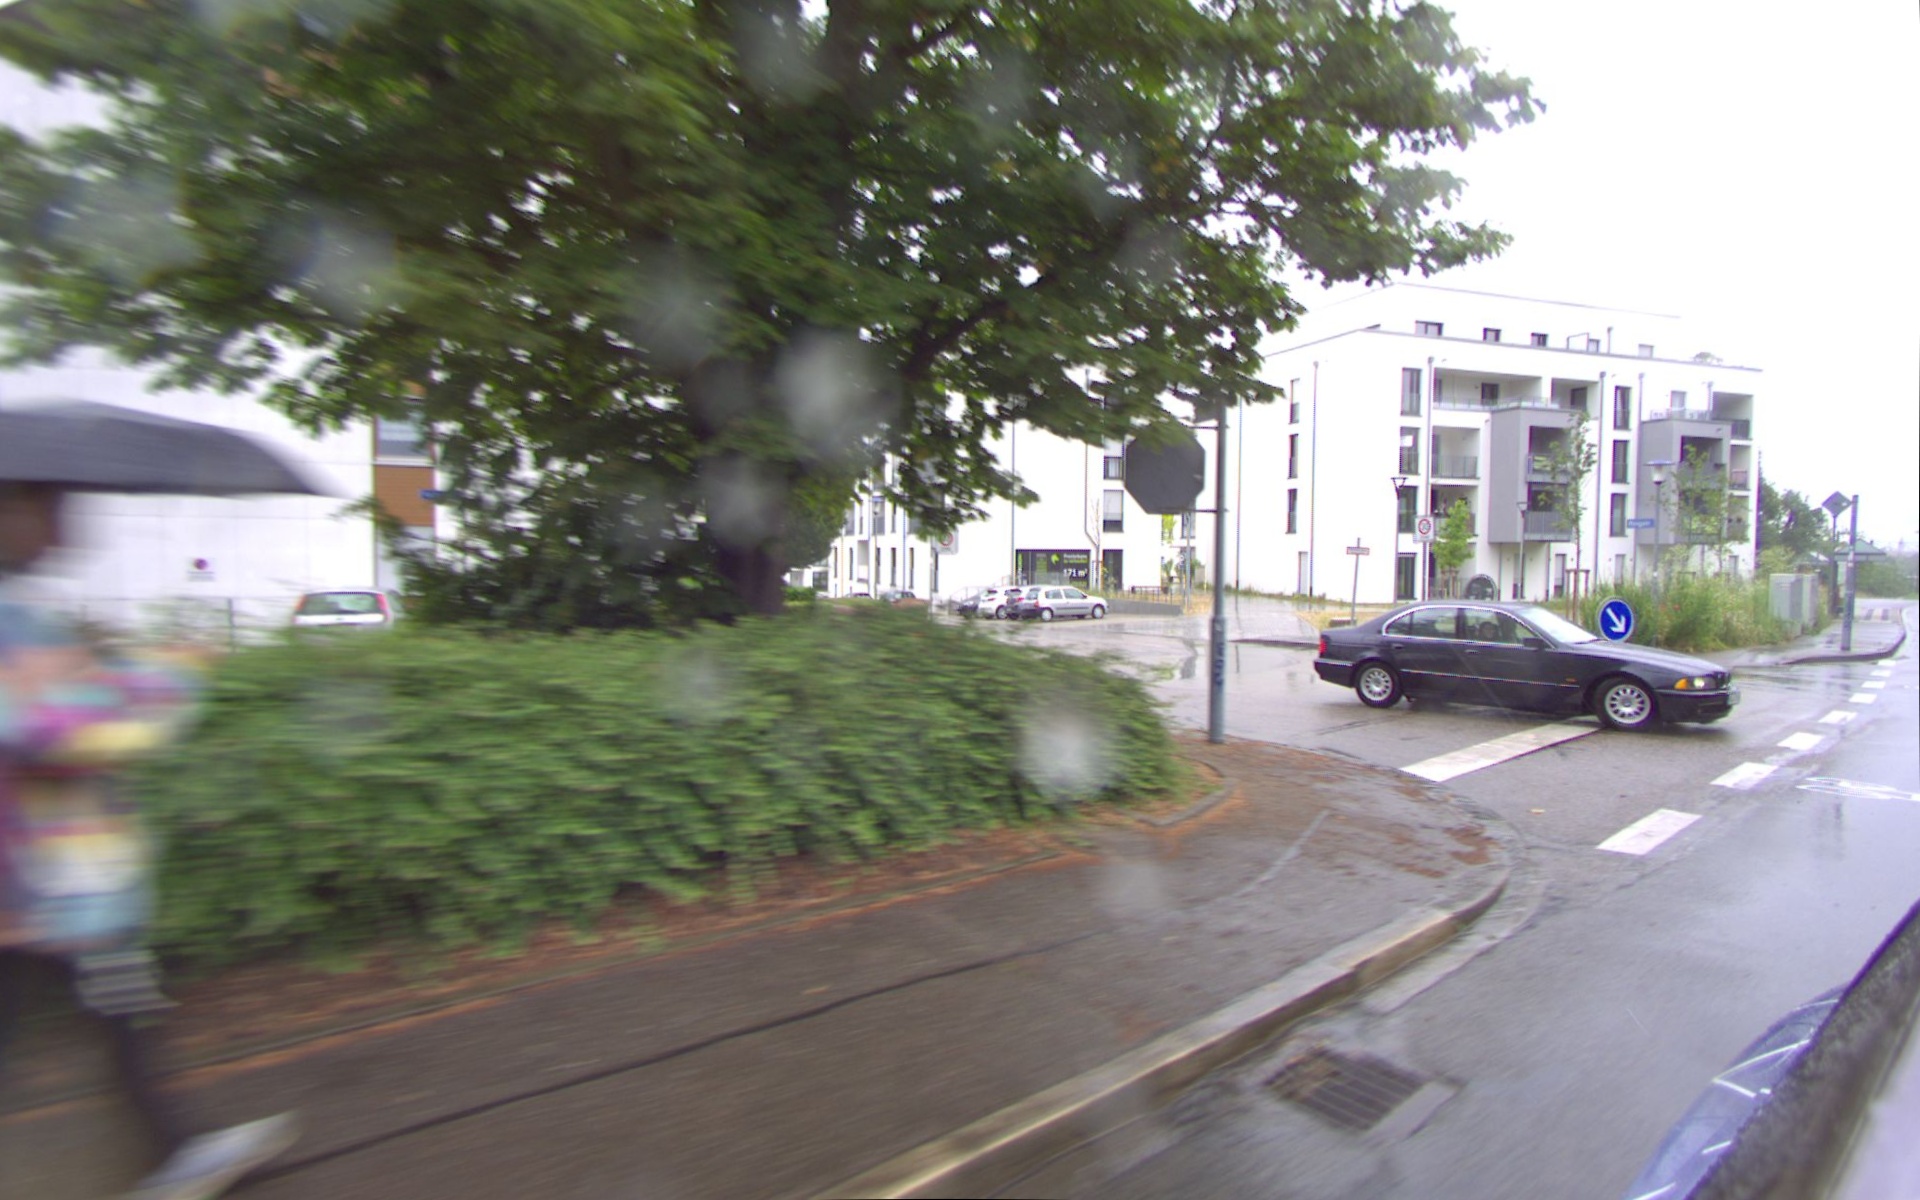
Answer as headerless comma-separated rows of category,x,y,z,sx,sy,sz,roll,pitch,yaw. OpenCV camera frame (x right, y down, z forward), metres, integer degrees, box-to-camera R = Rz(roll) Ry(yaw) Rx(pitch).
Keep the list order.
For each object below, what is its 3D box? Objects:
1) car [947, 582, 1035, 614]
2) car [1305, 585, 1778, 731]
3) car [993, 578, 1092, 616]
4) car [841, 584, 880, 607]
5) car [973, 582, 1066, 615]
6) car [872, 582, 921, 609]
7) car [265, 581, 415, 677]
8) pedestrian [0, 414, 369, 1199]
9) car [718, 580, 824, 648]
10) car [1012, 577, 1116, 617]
car,1.513,-0.129,49.223,3.917,1.439,1.763,-1,1,-23
car,6.954,0.585,12.620,1.776,1.432,4.806,-2,1,-40
car,3.649,-0.165,44.727,3.918,1.439,1.828,-3,2,-23
car,-6.253,-0.312,63.395,1.584,1.394,3.595,-1,1,-20
car,2.774,-0.097,46.952,3.917,1.439,1.763,-1,1,-23
car,-3.535,-0.258,56.064,1.756,1.394,3.595,-1,1,-20
car,-11.002,0.449,18.201,1.632,1.427,3.671,1,2,-21
pedestrian,-1.690,0.461,1.919,0.857,1.544,0.771,1,3,-38
car,-5.412,0.324,28.620,1.728,1.771,4.004,-1,1,-30
car,4.340,-0.140,42.186,3.917,1.439,1.763,-3,2,-21
